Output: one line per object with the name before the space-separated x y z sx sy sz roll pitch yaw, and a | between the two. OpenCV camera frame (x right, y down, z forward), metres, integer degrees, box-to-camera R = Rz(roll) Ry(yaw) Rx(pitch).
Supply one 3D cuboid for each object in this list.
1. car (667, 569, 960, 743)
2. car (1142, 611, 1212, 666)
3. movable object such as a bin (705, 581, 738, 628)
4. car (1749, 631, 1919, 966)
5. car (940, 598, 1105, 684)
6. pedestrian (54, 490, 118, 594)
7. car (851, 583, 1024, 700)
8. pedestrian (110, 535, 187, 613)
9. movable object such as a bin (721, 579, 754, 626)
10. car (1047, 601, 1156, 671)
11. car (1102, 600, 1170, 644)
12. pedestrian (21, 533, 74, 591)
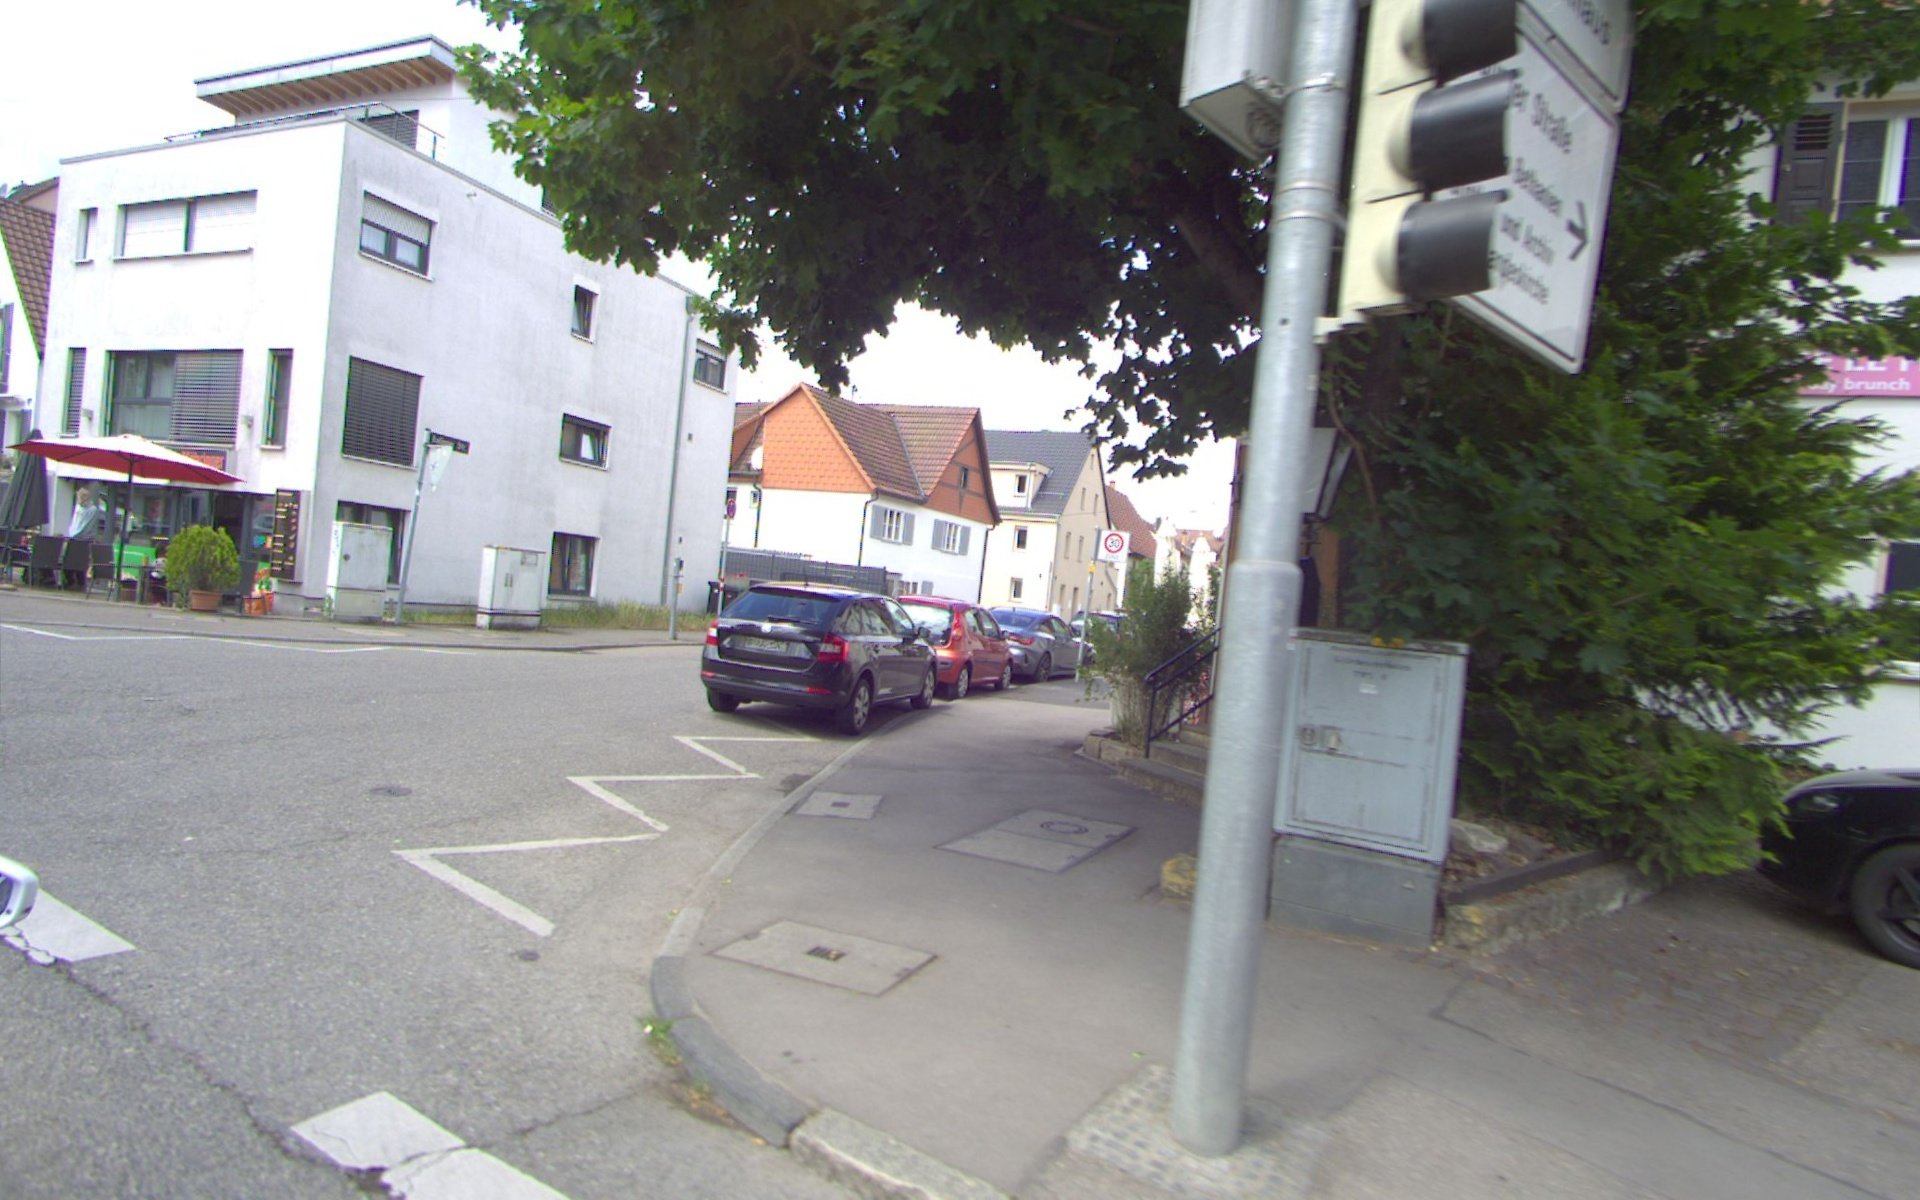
car | -1.447 0.546 11.712 1.745 1.434 4.183 8 1 14
car | 7.745 1.390 35.712 1.597 1.702 4.123 6 0 22
movable object such as a bin | -6.055 0.117 25.544 0.518 1.143 0.527 6 1 23
car | 6.126 1.152 4.169 1.739 1.539 4.038 2 4 -35
car | 1.394 0.821 20.358 1.756 1.377 4.361 6 0 25
pedestrian | -15.728 -1.039 18.100 0.663 1.784 0.429 6 1 10
car | -0.239 0.615 16.081 1.621 1.505 3.423 6 1 18
pedestrian | -12.341 -0.381 15.313 0.622 1.102 0.568 6 1 6
movable object such as a bin | -5.787 0.060 26.139 0.518 1.143 0.527 6 1 23
car | 3.794 0.956 26.355 1.755 1.526 4.123 6 0 22
car | 7.308 0.956 41.449 1.671 1.503 4.122 6 0 25
pedestrian | -16.048 -0.666 17.691 0.488 0.950 0.420 6 1 10
